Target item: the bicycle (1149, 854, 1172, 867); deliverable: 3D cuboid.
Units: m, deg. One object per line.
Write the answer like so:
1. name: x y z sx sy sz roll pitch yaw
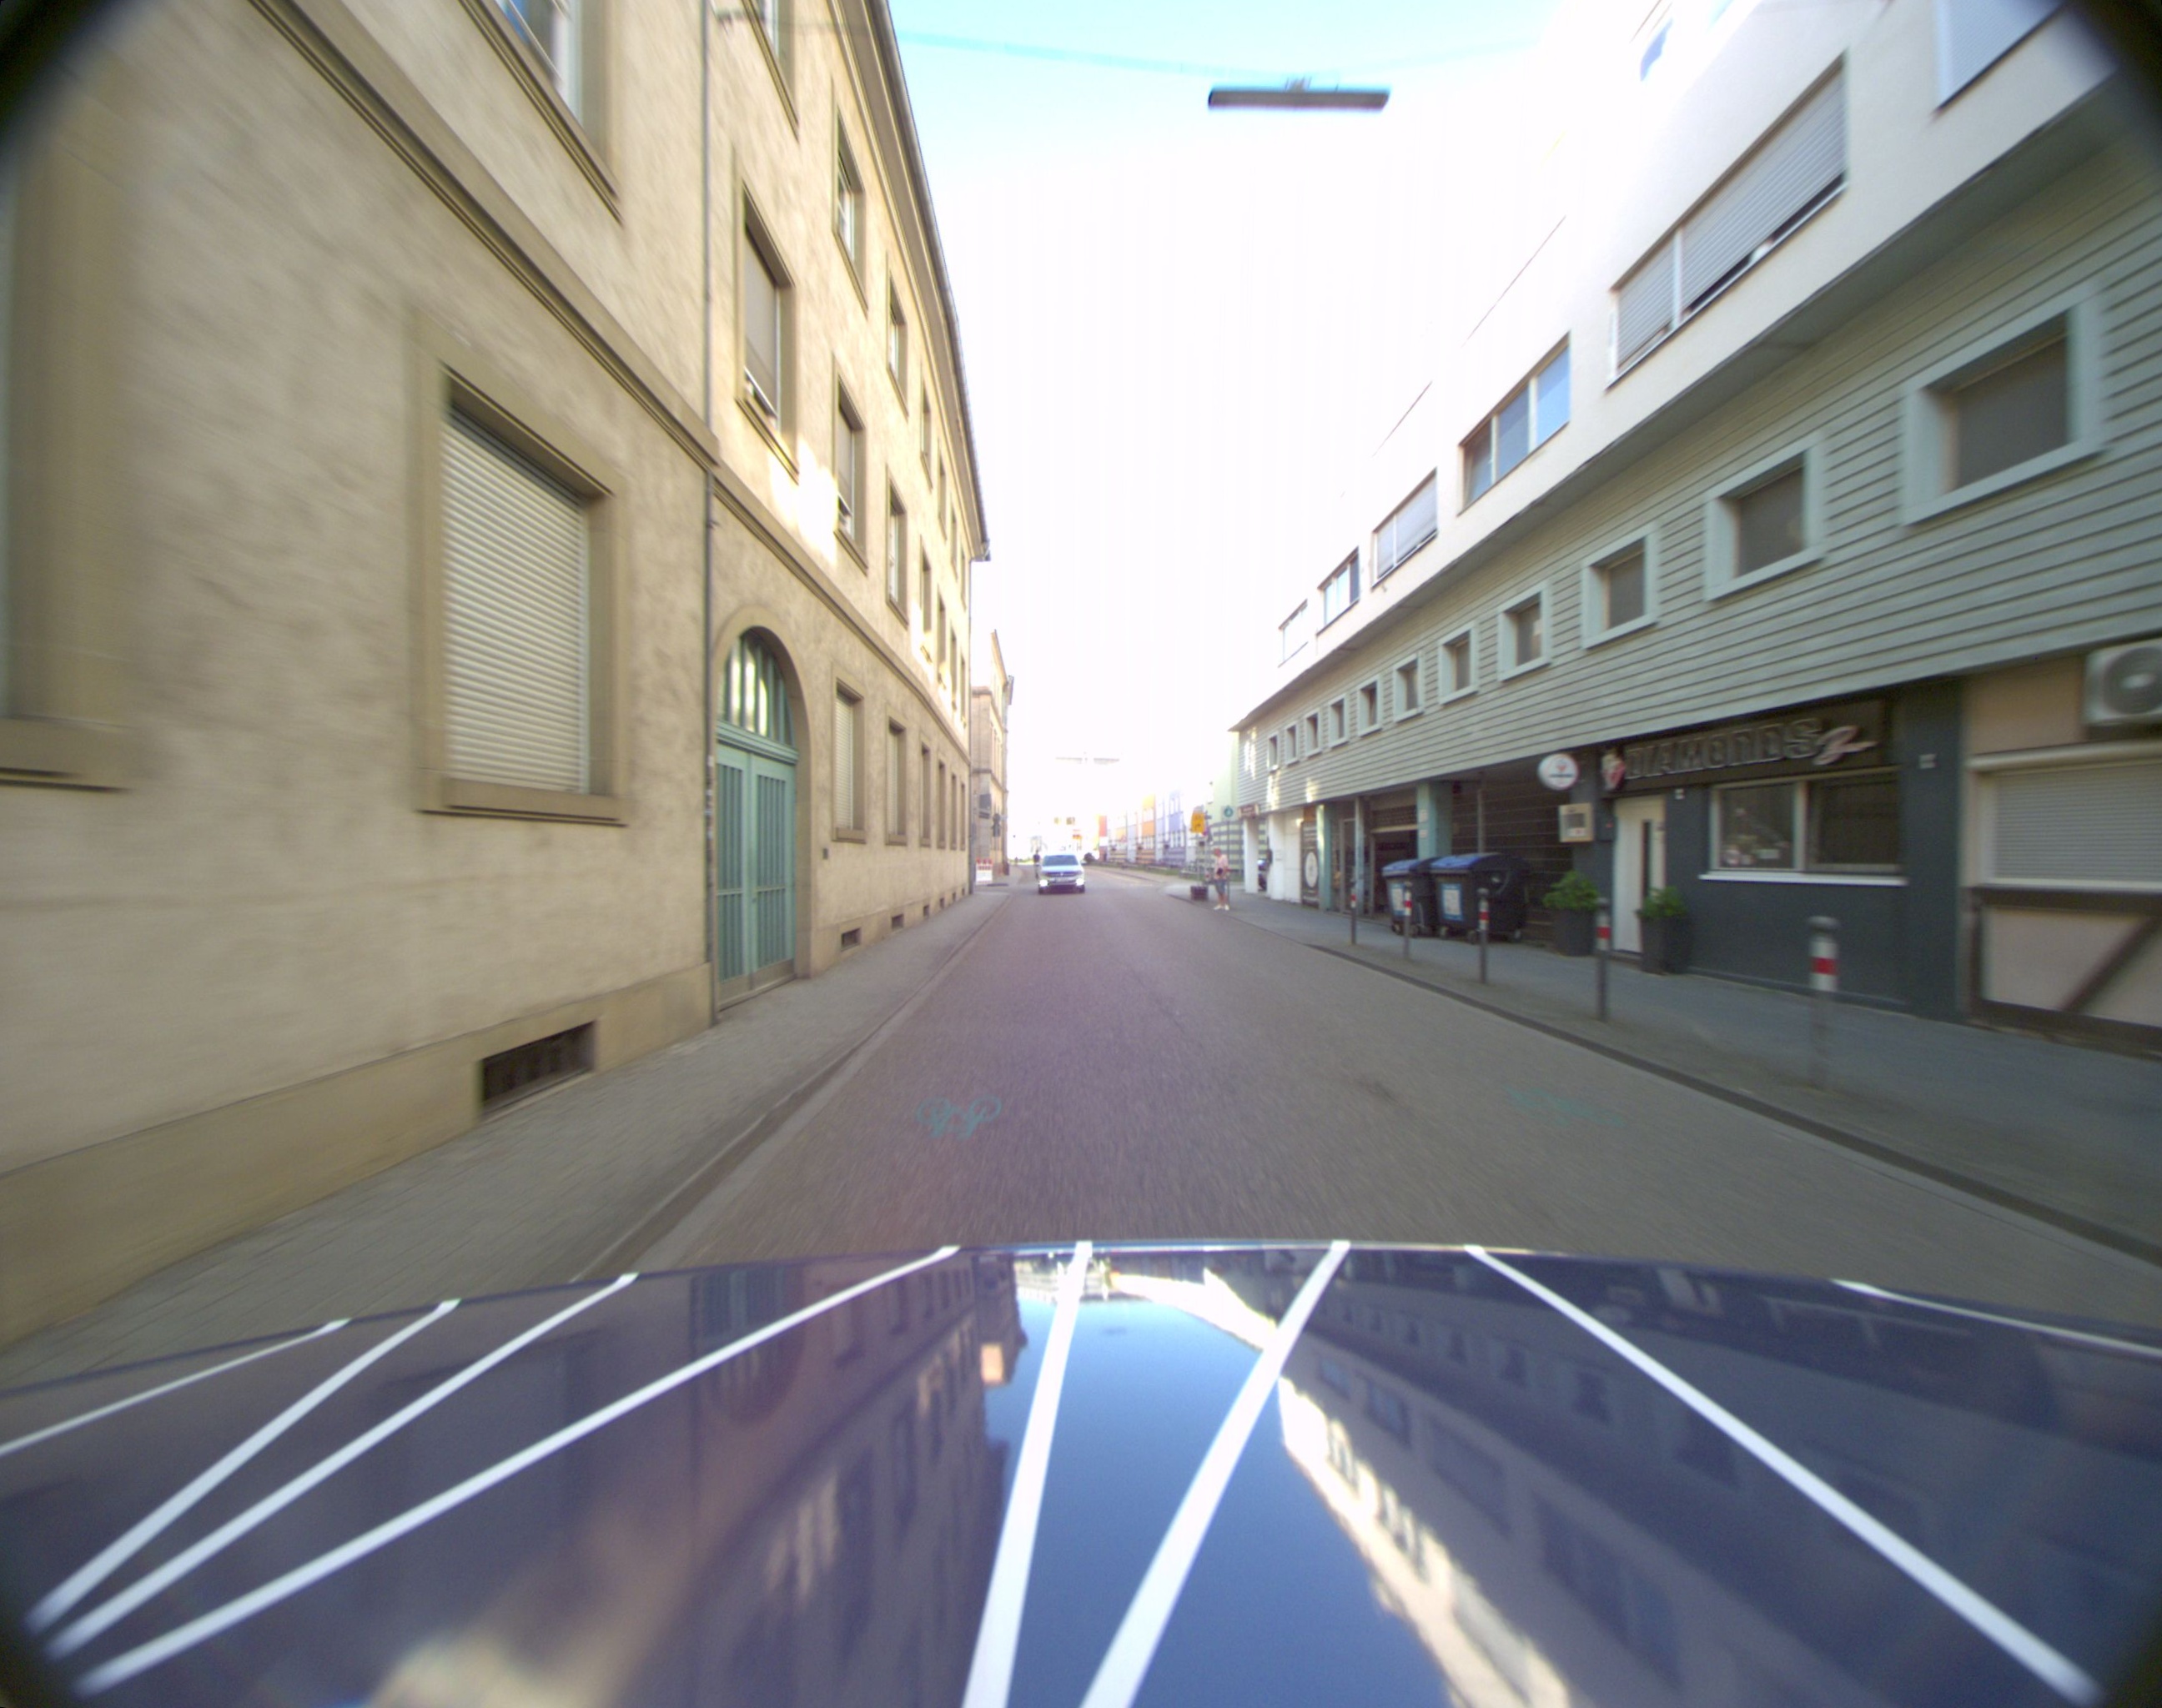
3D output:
1. bicycle: 6.582 0.542 62.800 1.803 0.940 0.388 -4 1 -3

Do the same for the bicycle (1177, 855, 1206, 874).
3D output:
1. bicycle: 7.221 0.684 49.654 1.739 1.094 0.388 -4 1 -10

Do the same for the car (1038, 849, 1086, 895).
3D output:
1. car: -0.699 0.659 30.092 1.683 1.568 4.242 -3 1 0

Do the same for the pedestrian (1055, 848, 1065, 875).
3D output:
1. pedestrian: -1.411 0.489 50.166 0.603 1.770 0.651 -1 1 -3

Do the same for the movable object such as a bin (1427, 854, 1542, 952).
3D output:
1. movable object such as a bin: 6.524 0.763 12.374 1.125 1.511 1.342 0 0 -2

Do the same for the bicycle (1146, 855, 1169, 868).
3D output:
1. bicycle: 6.251 0.622 62.093 1.803 0.940 0.388 -4 1 -3

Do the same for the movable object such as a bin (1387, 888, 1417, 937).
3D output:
1. movable object such as a bin: 6.348 1.149 15.041 0.394 0.937 0.467 0 0 -2

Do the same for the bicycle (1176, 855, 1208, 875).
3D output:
1. bicycle: 7.019 0.690 48.208 1.821 1.094 0.749 -4 1 -3

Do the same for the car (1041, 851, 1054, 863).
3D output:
1. car: -5.038 0.447 113.953 1.683 1.777 4.241 -3 1 -3

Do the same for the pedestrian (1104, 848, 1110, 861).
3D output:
1. pedestrian: 3.260 0.067 94.892 0.612 1.641 0.447 -1 1 -9

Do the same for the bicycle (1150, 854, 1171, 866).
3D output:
1. bicycle: 6.715 0.504 64.063 1.658 0.940 0.388 -4 1 -3

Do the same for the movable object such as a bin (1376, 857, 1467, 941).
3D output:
1. movable object such as a bin: 6.238 0.794 14.005 0.971 1.463 1.474 0 -1 -2

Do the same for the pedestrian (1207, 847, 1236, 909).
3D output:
1. pedestrian: 3.818 0.646 20.707 0.494 1.660 0.627 -3 1 -15

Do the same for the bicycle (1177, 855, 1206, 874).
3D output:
1. bicycle: 7.284 0.701 50.063 1.739 1.094 0.388 -4 1 -10

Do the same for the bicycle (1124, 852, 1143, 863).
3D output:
1. bicycle: 5.392 0.348 78.673 1.808 0.977 0.654 -5 1 -6

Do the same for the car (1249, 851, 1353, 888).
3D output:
1. car: 9.414 0.650 32.651 3.943 1.511 1.692 0 1 -4

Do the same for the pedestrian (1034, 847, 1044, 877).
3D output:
1. pedestrian: -2.725 0.535 49.262 0.677 1.928 0.858 -1 1 -3
